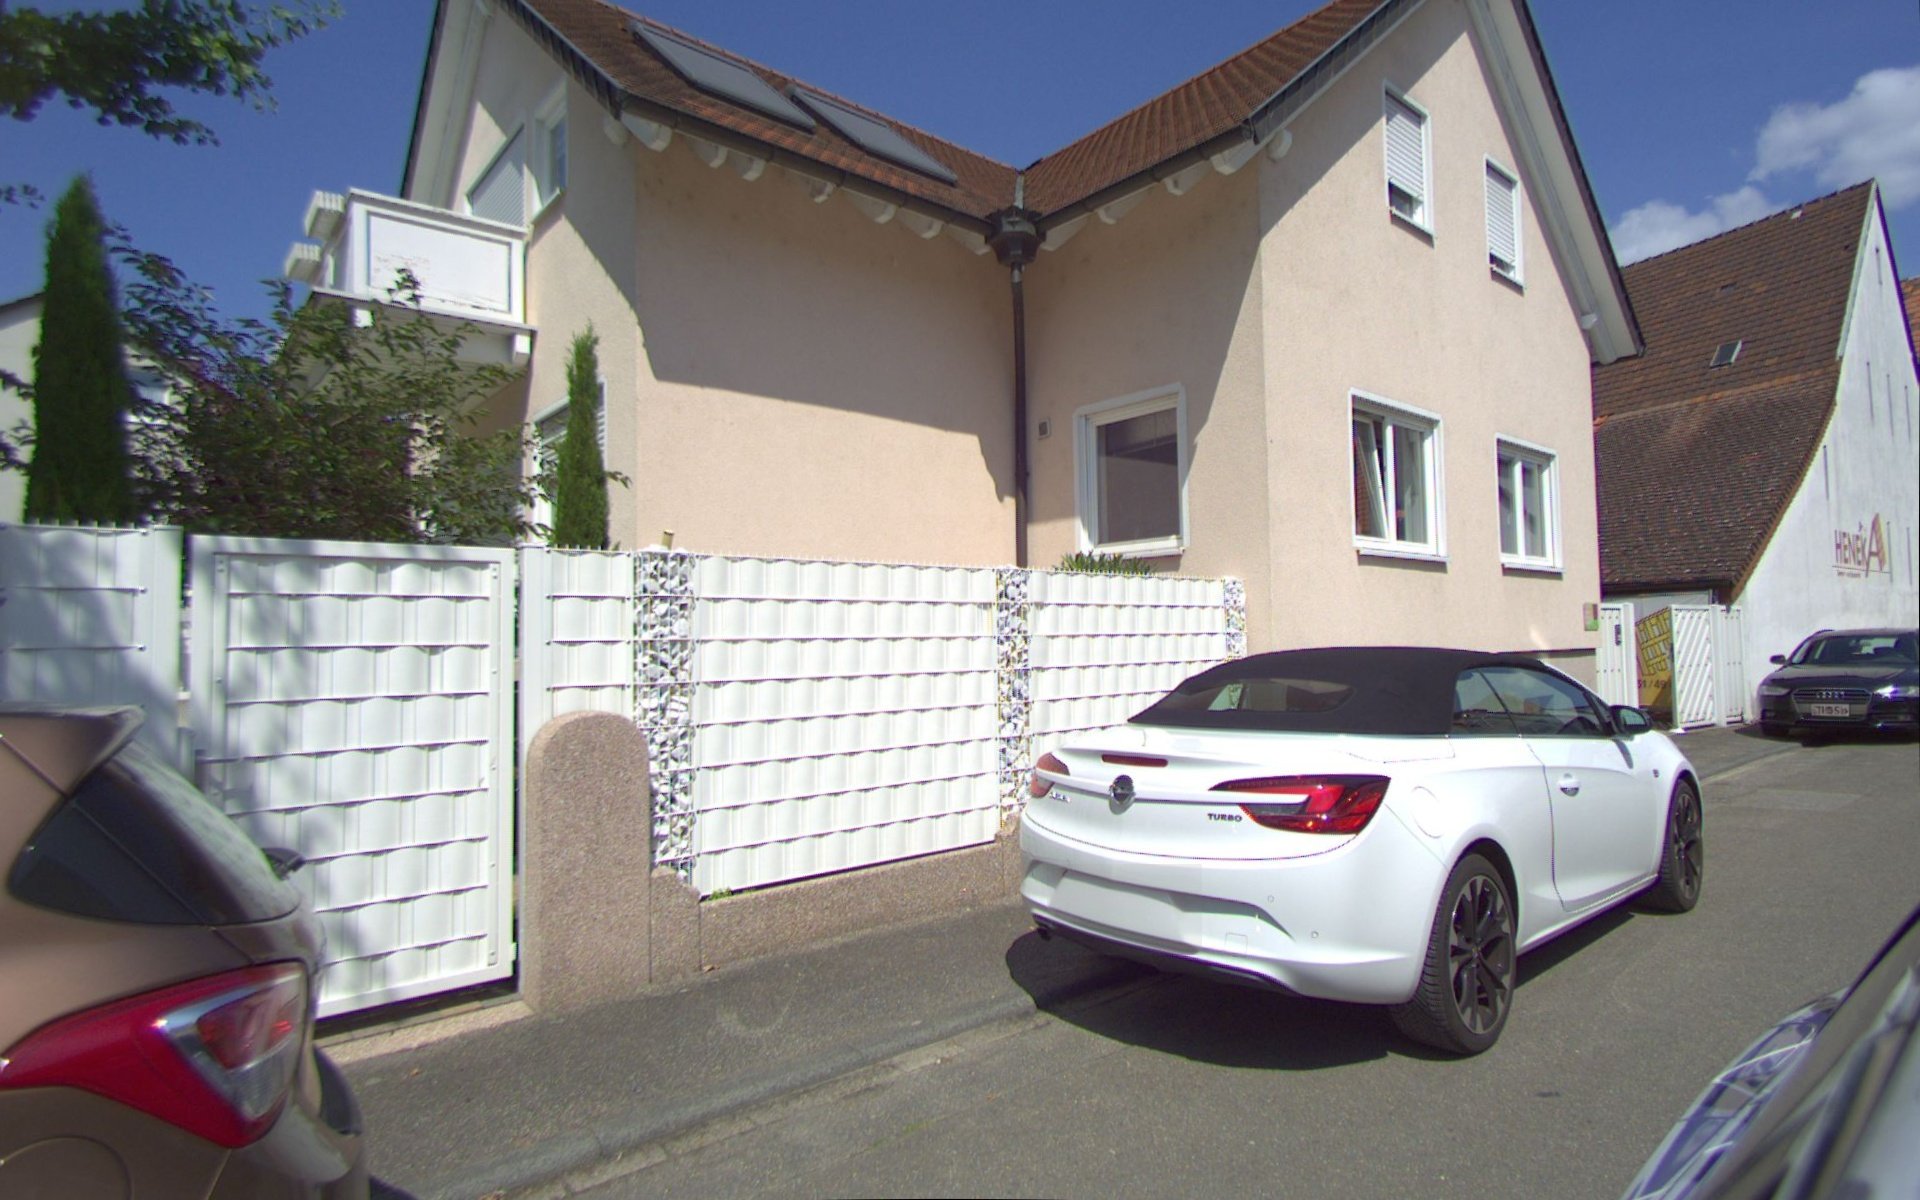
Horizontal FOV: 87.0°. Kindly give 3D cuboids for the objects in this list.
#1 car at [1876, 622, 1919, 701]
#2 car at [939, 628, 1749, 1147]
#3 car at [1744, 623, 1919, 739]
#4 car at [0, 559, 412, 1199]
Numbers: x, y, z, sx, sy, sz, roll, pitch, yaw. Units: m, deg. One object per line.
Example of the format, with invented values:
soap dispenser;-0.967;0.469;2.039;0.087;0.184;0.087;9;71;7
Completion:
car;19.090;1.092;19.044;4.332;1.383;1.900;0;-3;-37
car;2.287;0.919;5.214;4.654;1.447;1.898;1;-3;-41
car;12.895;1.029;14.183;4.650;1.383;1.899;0;-3;-38
car;-2.795;0.800;0.730;3.965;1.553;1.714;1;-6;-41
